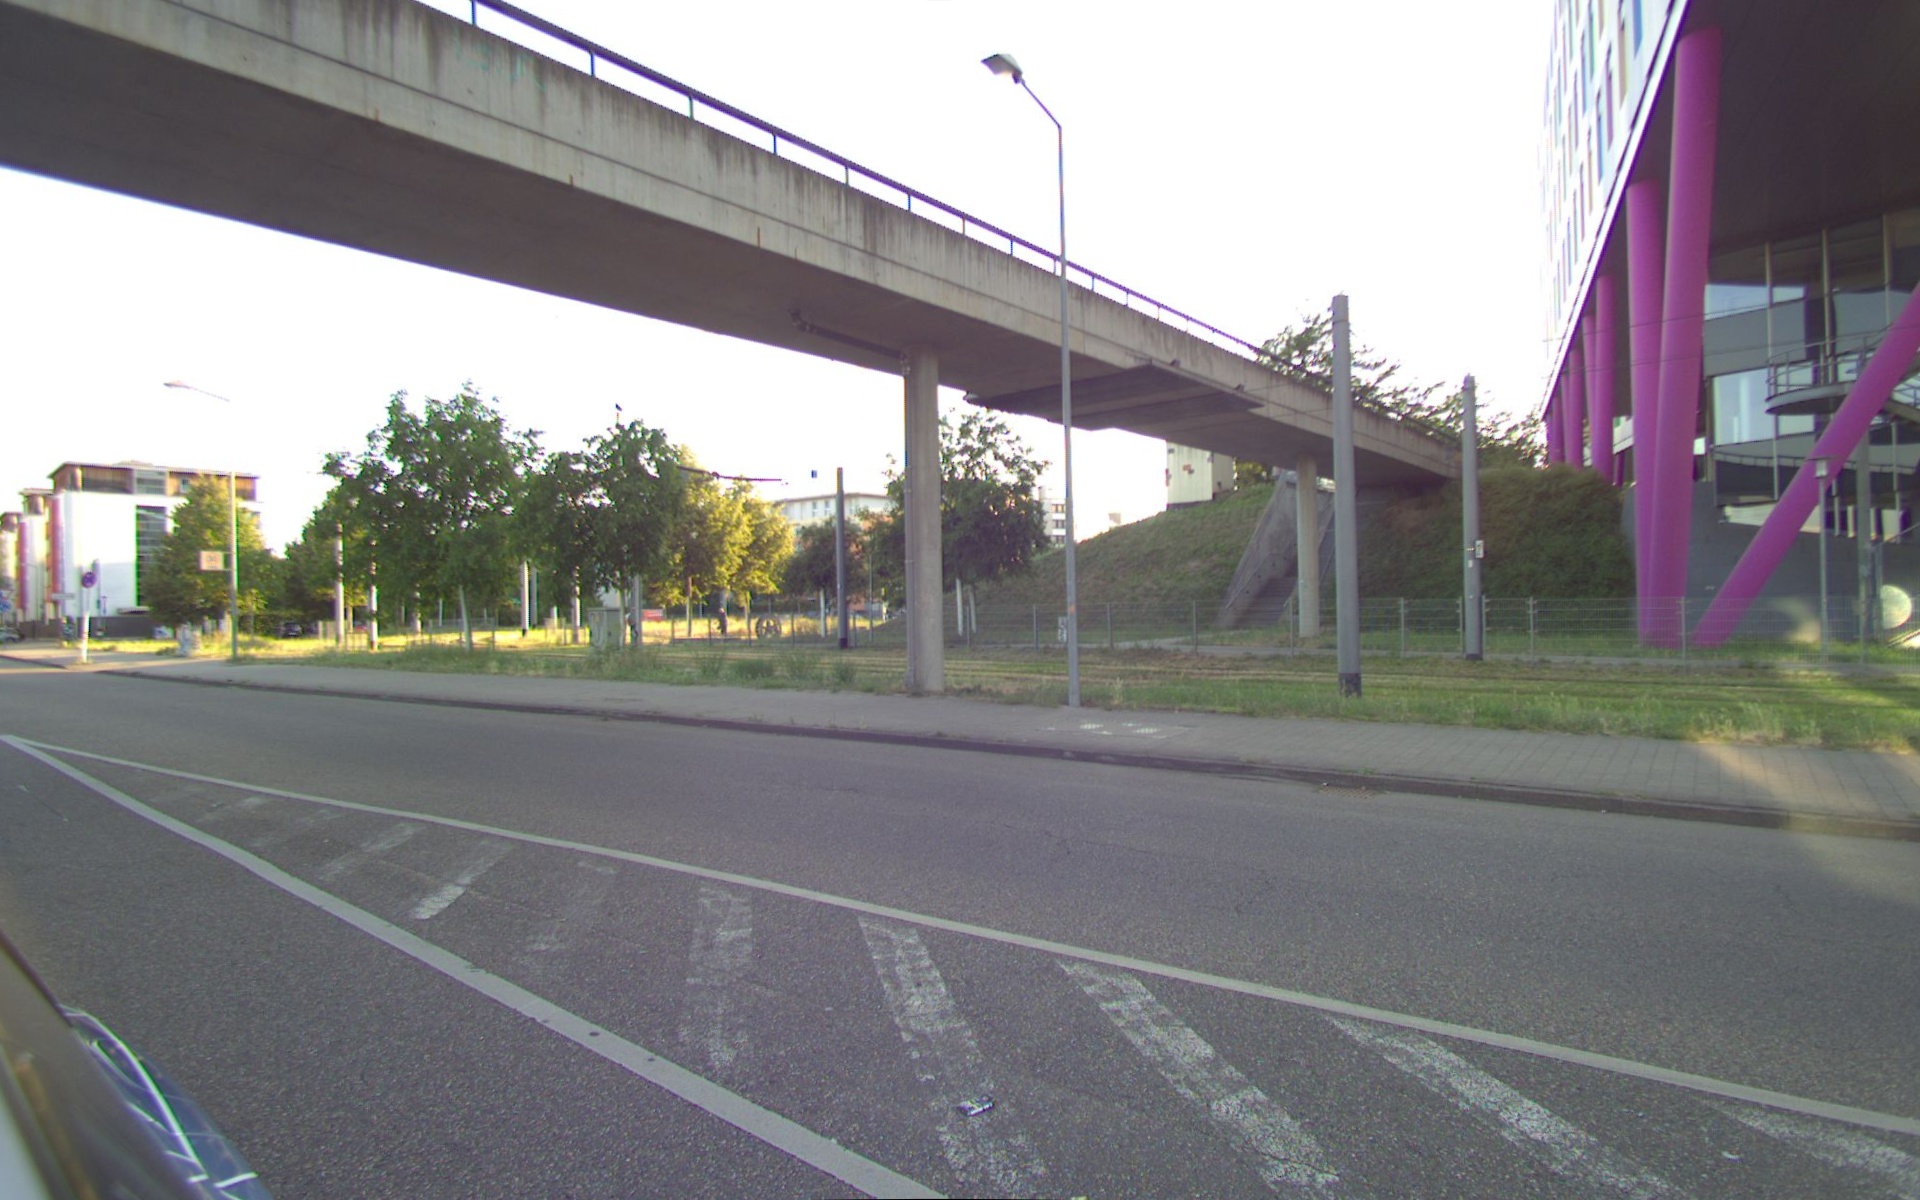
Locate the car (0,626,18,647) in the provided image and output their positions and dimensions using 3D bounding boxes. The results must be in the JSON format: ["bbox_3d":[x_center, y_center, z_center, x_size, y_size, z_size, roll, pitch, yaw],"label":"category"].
[{"bbox_3d":[-80.549,3.069,83.493,2.000,1.741,3.944,-2,-1,42],"label":"car"}]

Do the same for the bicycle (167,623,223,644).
[{"bbox_3d":[-57.497,2.497,76.086,0.886,1.503,3.279,-2,-1,38],"label":"bicycle"}]

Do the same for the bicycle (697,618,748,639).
[{"bbox_3d":[-12.269,1.456,52.360,0.654,1.016,2.808,-2,-1,37],"label":"bicycle"}]

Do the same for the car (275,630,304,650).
[{"bbox_3d":[-56.841,3.381,85.792,1.913,1.541,4.009,-1,-1,-36],"label":"car"}]

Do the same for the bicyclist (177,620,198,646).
[{"bbox_3d":[-57.779,2.464,75.697,0.882,1.890,1.022,-1,-2,36],"label":"bicyclist"}]

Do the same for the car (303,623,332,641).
[{"bbox_3d":[-55.269,2.742,87.049,1.913,1.541,4.009,-1,-1,-36],"label":"car"}]

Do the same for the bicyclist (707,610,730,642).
[{"bbox_3d":[-12.468,1.326,52.261,0.716,1.644,0.899,-2,-1,36],"label":"bicyclist"}]

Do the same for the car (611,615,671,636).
[{"bbox_3d":[-32.084,2.546,101.812,5.442,2.029,2.002,-1,-1,-43],"label":"car"}]
